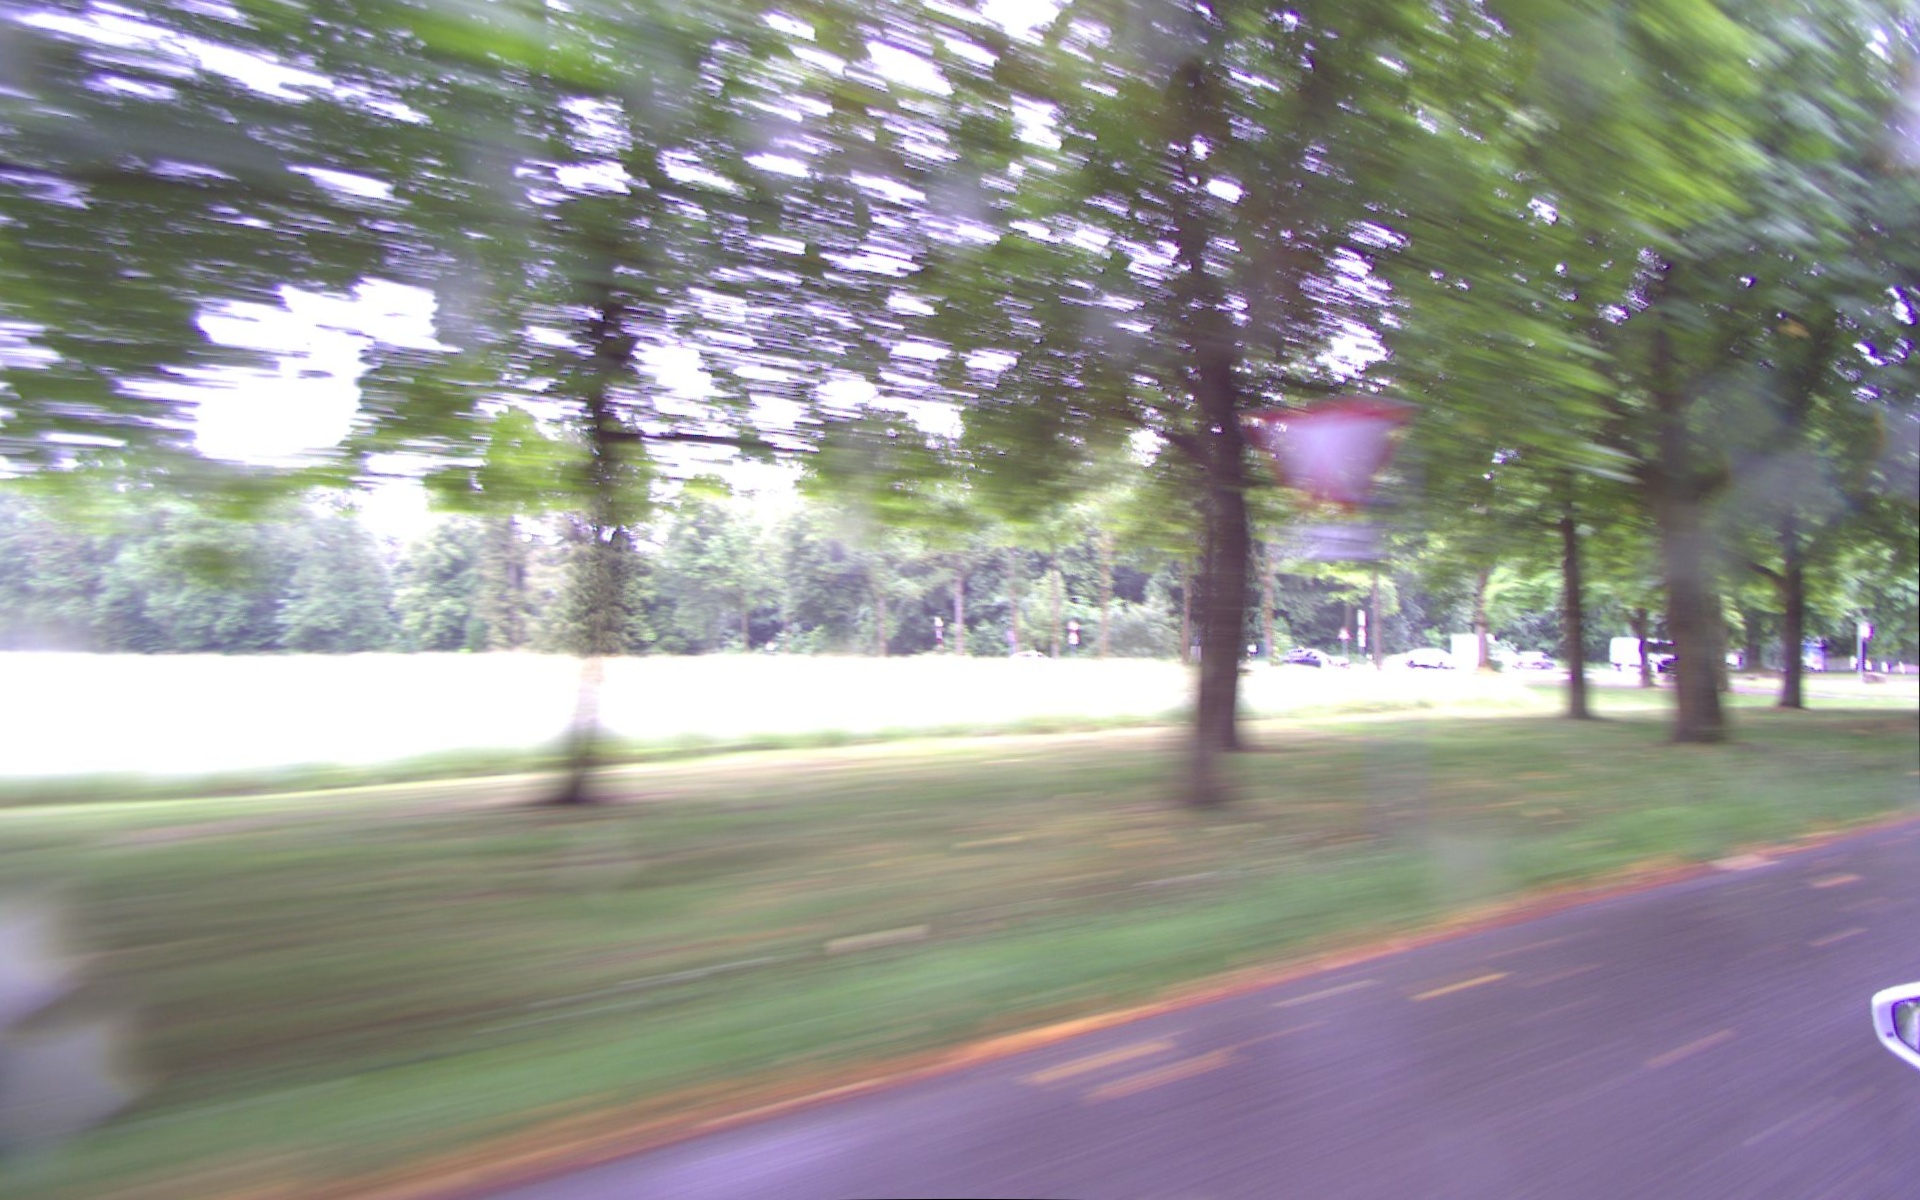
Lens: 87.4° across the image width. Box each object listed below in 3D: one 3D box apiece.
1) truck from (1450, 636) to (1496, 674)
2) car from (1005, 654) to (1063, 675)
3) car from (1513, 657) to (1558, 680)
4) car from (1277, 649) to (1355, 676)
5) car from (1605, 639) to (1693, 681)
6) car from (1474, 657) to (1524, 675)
[{"bbox_3d":[34.182,3.648,66.891,1.850,2.474,3.329,-2,-3,45],"label":"truck"},{"bbox_3d":[6.031,5.271,82.485,1.721,1.621,4.838,3,-3,-45],"label":"car"},{"bbox_3d":[37.204,4.412,64.897,1.742,1.448,4.087,-1,-3,41],"label":"car"},{"bbox_3d":[23.272,4.074,65.820,4.514,1.731,1.721,-3,-4,45],"label":"car"},{"bbox_3d":[43.275,3.757,63.271,2.344,2.438,5.990,2,-3,11],"label":"car"},{"bbox_3d":[49.887,6.111,93.071,1.965,1.605,3.993,1,-2,-11],"label":"car"}]
